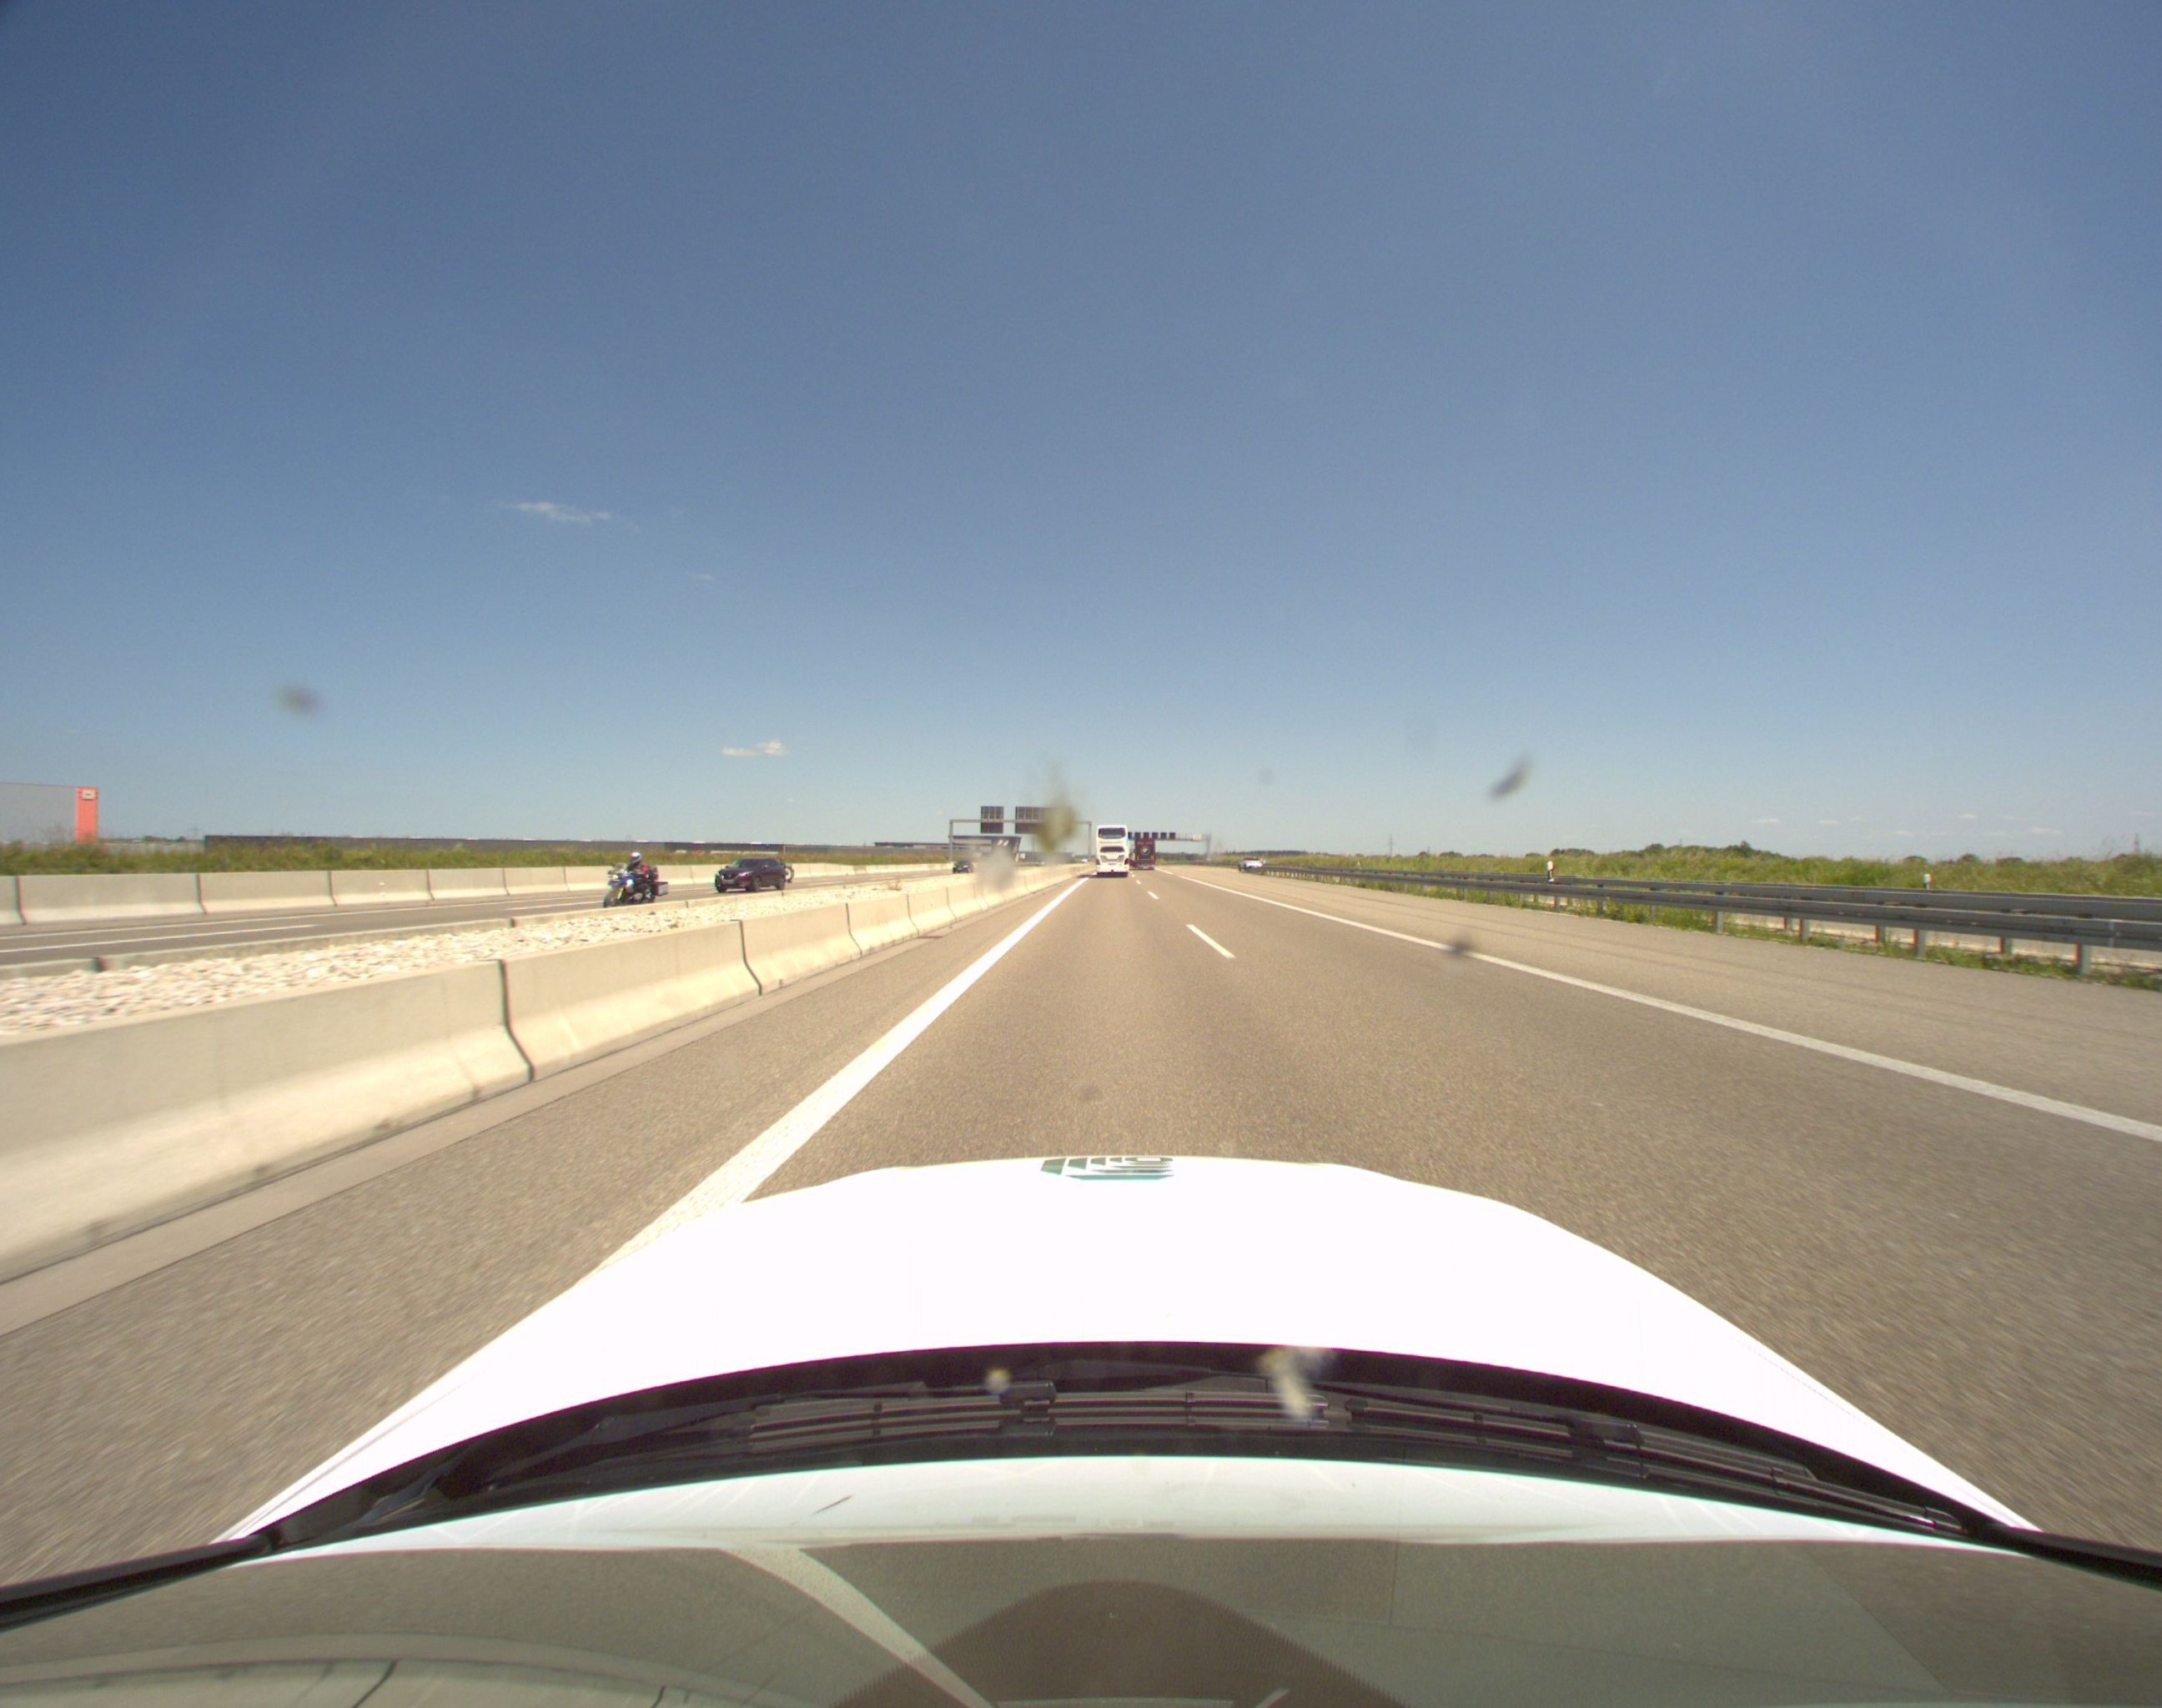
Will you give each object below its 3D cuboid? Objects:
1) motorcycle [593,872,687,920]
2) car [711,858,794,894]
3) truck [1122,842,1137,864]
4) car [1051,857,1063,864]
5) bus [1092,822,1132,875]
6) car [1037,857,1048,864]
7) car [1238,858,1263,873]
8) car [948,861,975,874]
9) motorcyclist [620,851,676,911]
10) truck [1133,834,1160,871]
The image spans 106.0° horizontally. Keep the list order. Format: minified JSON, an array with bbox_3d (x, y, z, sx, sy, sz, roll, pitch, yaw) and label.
[{"bbox_3d":[-11.990,1.098,22.281,0.954,1.169,2.724,-1,0,3],"label":"motorcycle"},{"bbox_3d":[-15.380,0.976,38.461,1.863,1.491,5.138,0,0,0],"label":"car"},{"bbox_3d":[8.577,-0.127,144.519,2.428,3.789,6.496,-1,0,2],"label":"truck"},{"bbox_3d":[-4.758,1.222,164.083,1.836,1.382,4.757,-1,0,4],"label":"car"},{"bbox_3d":[2.450,-0.414,66.412,2.970,3.975,9.106,-1,0,1],"label":"bus"},{"bbox_3d":[-8.019,1.296,169.919,1.883,1.329,3.989,-1,0,3],"label":"car"},{"bbox_3d":[18.348,1.203,88.449,1.884,1.529,4.262,-1,0,1],"label":"car"},{"bbox_3d":[-12.882,1.437,87.850,1.985,1.379,4.367,-1,0,3],"label":"car"},{"bbox_3d":[-11.970,0.728,22.555,0.916,1.621,1.089,-1,0,3],"label":"motorcyclist"},{"bbox_3d":[8.825,-0.006,109.455,3.364,4.464,13.581,0,-2,5],"label":"truck"}]
